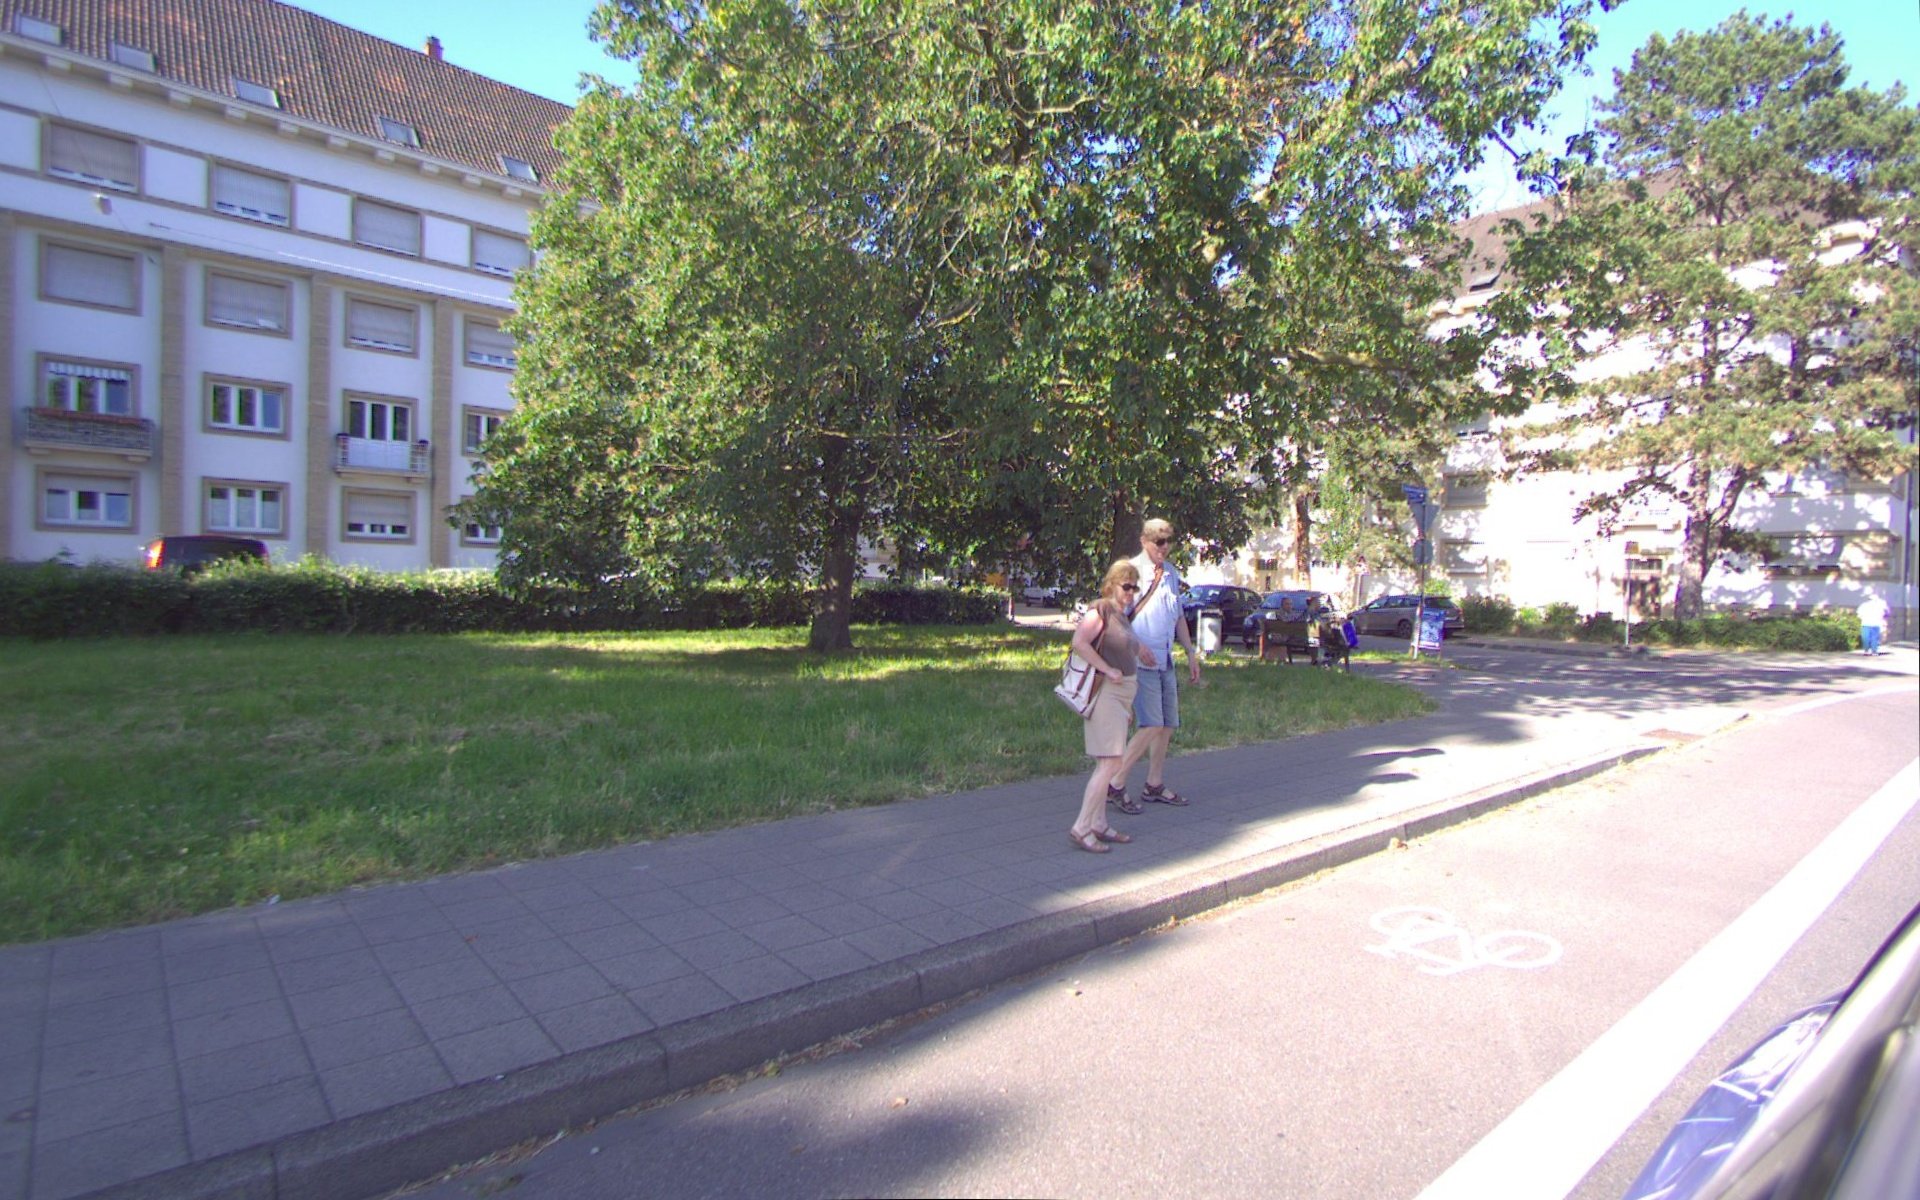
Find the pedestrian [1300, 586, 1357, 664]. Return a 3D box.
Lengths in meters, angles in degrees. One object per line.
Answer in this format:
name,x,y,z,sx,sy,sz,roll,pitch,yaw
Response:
pedestrian,5.967,0.393,16.397,0.745,1.242,0.405,0,-1,-14

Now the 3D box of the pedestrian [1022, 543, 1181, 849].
pedestrian,0.767,0.479,5.524,0.615,1.547,0.531,1,2,-35

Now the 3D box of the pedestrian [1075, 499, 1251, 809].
pedestrian,1.267,0.303,6.377,0.681,1.811,0.706,2,2,-35

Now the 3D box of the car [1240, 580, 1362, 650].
car,8.292,0.315,24.435,1.632,1.512,3.757,3,2,37

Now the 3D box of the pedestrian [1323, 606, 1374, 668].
pedestrian,6.111,0.574,15.932,0.610,0.946,0.405,2,-2,-14

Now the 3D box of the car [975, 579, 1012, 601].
car,2.706,-0.790,82.648,1.762,1.631,4.007,0,-1,-18

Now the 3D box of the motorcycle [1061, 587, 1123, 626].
motorcycle,4.198,0.198,32.177,1.772,1.085,0.705,5,2,34

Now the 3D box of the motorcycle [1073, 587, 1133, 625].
motorcycle,4.636,0.173,32.856,1.772,1.085,0.705,5,2,34

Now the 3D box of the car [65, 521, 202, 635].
car,-14.899,-0.322,18.311,1.736,1.817,3.995,1,-1,-39

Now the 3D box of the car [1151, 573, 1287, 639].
car,6.925,0.146,26.871,3.738,1.591,1.456,1,2,-37

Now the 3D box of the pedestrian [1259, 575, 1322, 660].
pedestrian,5.541,0.292,17.008,0.739,1.391,0.688,0,-1,-14

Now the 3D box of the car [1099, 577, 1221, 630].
car,6.127,0.096,30.681,1.636,1.458,4.174,3,2,43

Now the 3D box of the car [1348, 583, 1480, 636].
car,15.457,0.274,34.737,1.732,1.519,4.316,-2,3,-17

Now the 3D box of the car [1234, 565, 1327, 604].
car,13.370,-0.681,42.438,1.732,1.487,3.922,2,2,-17

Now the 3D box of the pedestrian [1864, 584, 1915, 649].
pedestrian,25.963,0.456,28.269,0.711,1.743,0.883,1,1,-35

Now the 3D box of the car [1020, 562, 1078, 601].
car,6.031,-1.219,69.475,2.081,2.474,5.328,0,-1,-18
